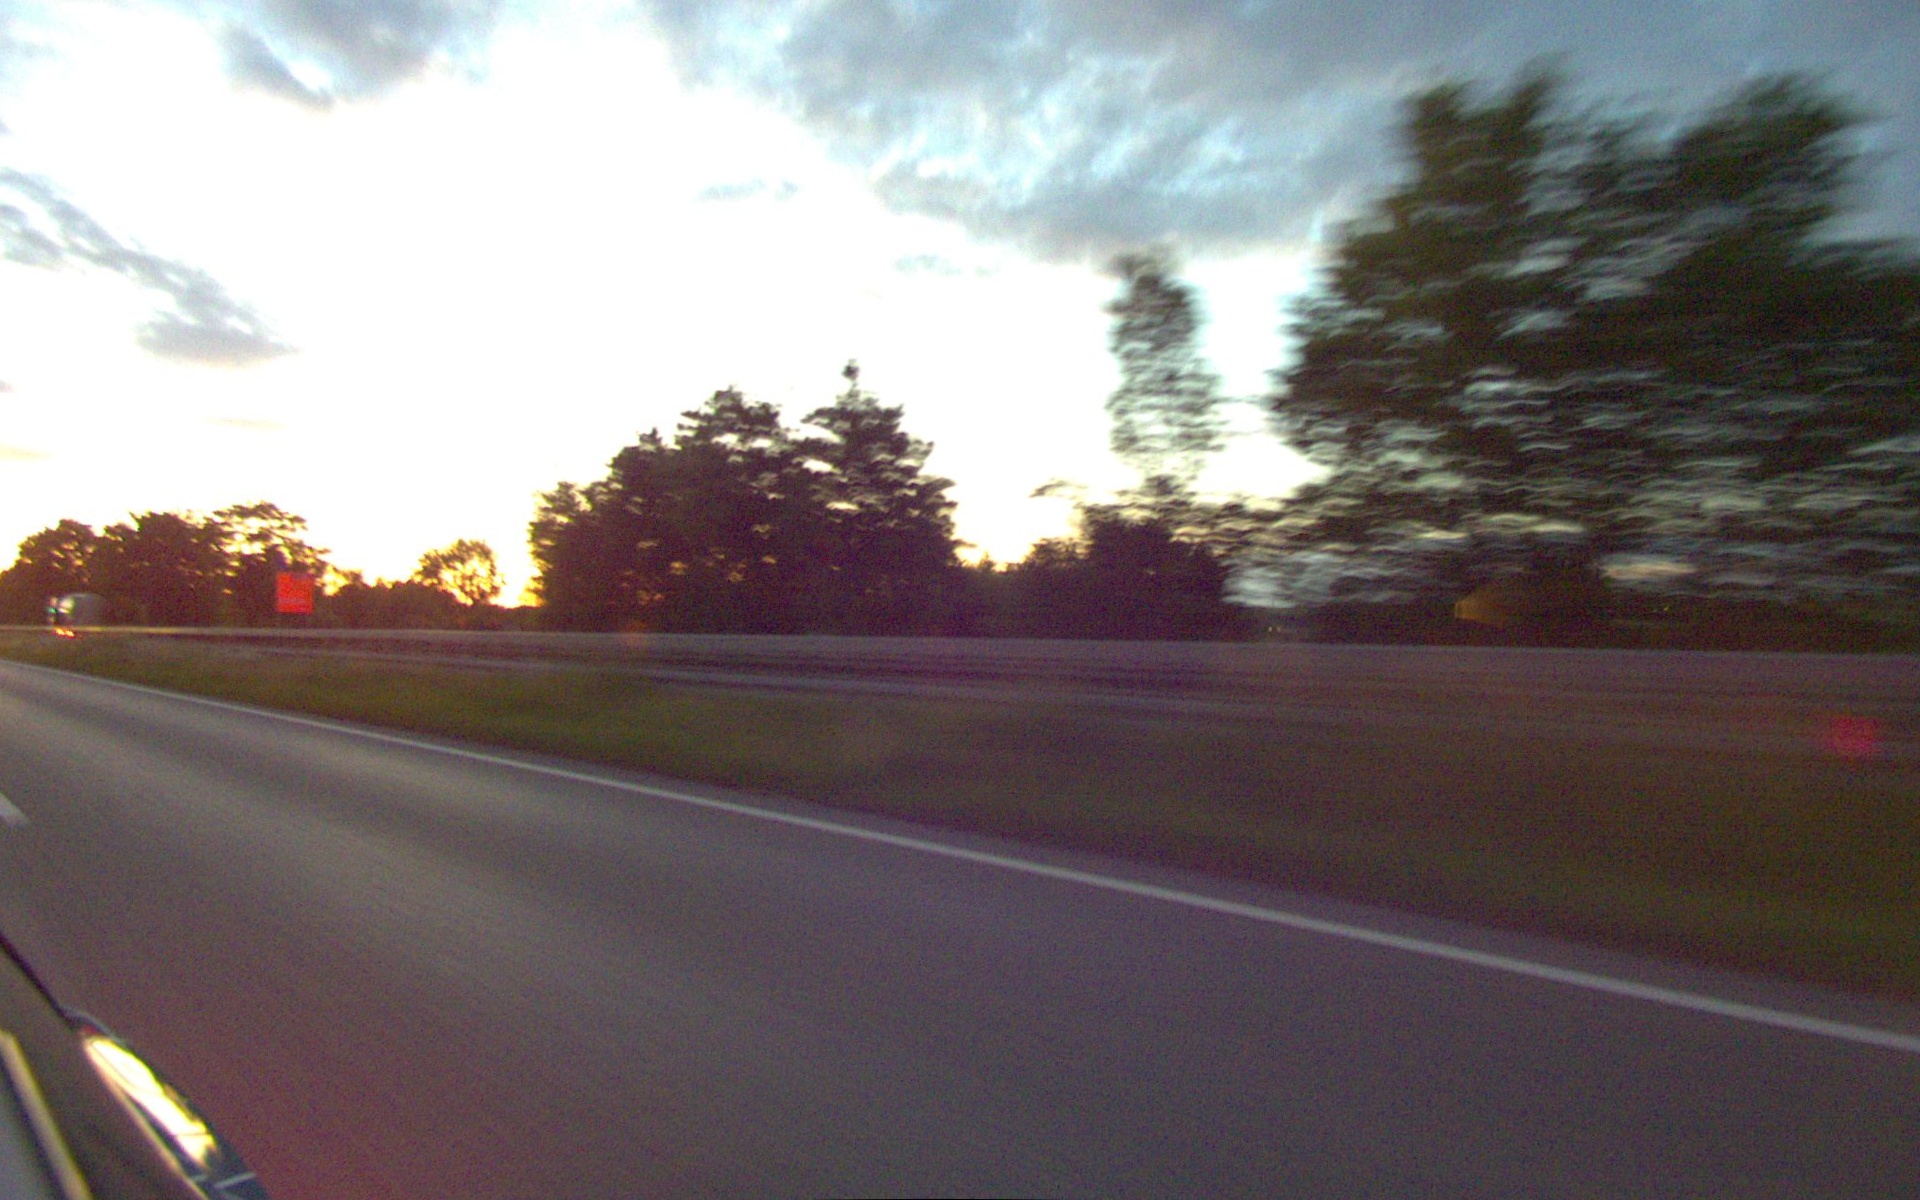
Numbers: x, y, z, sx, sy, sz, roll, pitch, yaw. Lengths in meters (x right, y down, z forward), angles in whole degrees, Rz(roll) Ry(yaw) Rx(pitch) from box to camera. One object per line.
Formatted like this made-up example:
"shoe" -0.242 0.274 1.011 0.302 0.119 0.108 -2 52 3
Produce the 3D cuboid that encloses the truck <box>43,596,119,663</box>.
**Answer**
"truck" -74.941 2.422 86.167 12.602 5.295 3.169 -1 -1 41
